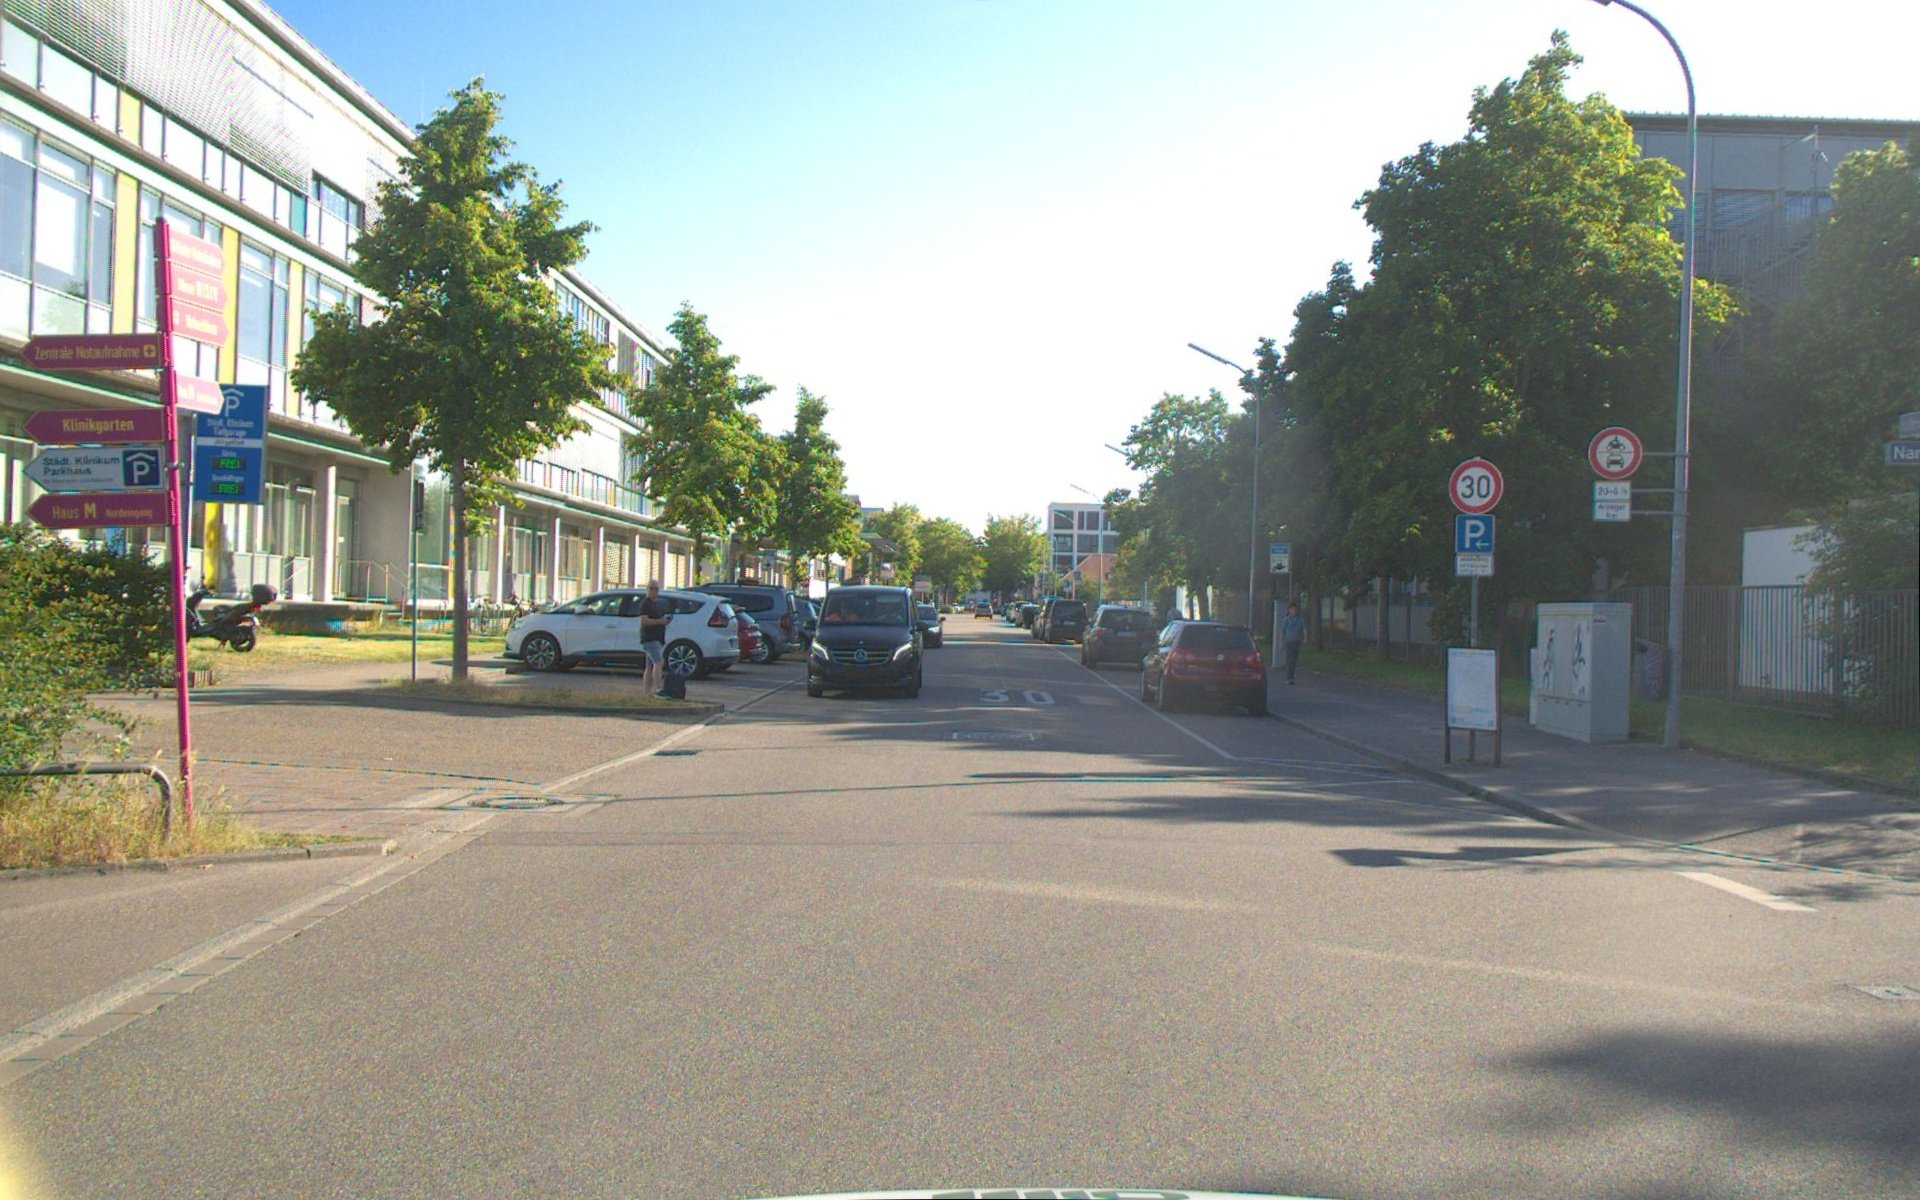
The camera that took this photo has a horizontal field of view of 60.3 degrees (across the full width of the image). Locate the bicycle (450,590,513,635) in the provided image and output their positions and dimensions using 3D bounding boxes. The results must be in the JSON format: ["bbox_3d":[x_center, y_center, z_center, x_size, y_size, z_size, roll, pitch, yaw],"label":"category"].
[{"bbox_3d":[-13.301,0.370,46.030,0.850,1.173,1.994,3,-1,10],"label":"bicycle"}]

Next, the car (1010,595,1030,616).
[{"bbox_3d":[4.718,0.460,130.499,1.406,1.588,3.042,2,0,0],"label":"car"}]

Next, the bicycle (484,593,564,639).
[{"bbox_3d":[-11.960,0.451,45.438,0.851,1.173,2.372,3,-1,21],"label":"bicycle"}]

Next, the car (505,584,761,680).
[{"bbox_3d":[-6.327,0.609,32.296,4.515,1.680,1.868,2,-1,4],"label":"car"}]

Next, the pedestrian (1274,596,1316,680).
[{"bbox_3d":[7.216,0.808,35.644,0.703,1.789,0.885,-1,0,1],"label":"pedestrian"}]

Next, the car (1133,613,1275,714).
[{"bbox_3d":[4.091,1.025,28.370,1.685,1.480,4.651,3,0,0],"label":"car"}]

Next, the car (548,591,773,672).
[{"bbox_3d":[-6.266,0.661,34.939,4.343,1.527,1.827,2,-1,1],"label":"car"}]

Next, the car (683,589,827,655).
[{"bbox_3d":[-5.842,0.623,47.579,3.908,1.635,1.871,3,0,-3],"label":"car"}]

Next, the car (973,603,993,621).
[{"bbox_3d":[2.143,1.093,154.505,1.708,1.570,4.000,2,0,0],"label":"car"}]

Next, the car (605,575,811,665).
[{"bbox_3d":[-6.119,0.472,40.544,4.645,1.897,1.828,3,0,1],"label":"car"}]

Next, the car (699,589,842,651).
[{"bbox_3d":[-5.744,0.593,50.534,4.162,1.640,2.047,3,0,-3],"label":"car"}]

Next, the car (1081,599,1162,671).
[{"bbox_3d":[4.273,0.888,44.411,1.775,1.695,4.593,3,1,1],"label":"car"}]

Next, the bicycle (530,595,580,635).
[{"bbox_3d":[-12.035,0.435,49.228,0.873,1.131,1.890,3,1,4],"label":"bicycle"}]

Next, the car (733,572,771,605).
[{"bbox_3d":[-14.093,-0.757,112.168,1.953,2.049,3.999,2,-1,0],"label":"car"}]

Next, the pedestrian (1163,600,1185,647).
[{"bbox_3d":[7.882,0.868,61.055,0.684,1.690,0.752,-1,0,0],"label":"pedestrian"}]

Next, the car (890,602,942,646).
[{"bbox_3d":[-1.527,0.819,58.210,1.668,1.476,4.086,0,0,1],"label":"car"}]

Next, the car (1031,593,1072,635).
[{"bbox_3d":[4.511,0.697,81.862,1.836,2.013,4.000,0,0,0],"label":"car"}]

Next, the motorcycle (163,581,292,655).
[{"bbox_3d":[-13.086,0.318,29.571,2.002,1.169,0.499,4,0,-2],"label":"motorcycle"}]

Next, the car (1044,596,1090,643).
[{"bbox_3d":[4.457,0.812,69.373,1.697,1.862,3.905,1,0,1],"label":"car"}]

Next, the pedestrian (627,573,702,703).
[{"bbox_3d":[-4.438,0.556,24.885,0.840,1.874,0.826,3,0,2],"label":"pedestrian"}]

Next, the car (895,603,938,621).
[{"bbox_3d":[-4.105,1.104,156.943,3.905,1.546,2.000,2,-1,1],"label":"car"}]

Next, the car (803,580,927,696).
[{"bbox_3d":[-1.607,0.627,29.704,1.915,1.900,5.255,0,0,0],"label":"car"}]

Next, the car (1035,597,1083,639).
[{"bbox_3d":[4.504,0.787,75.615,1.952,1.855,4.198,0,0,0],"label":"car"}]

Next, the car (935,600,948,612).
[{"bbox_3d":[-2.489,0.750,223.347,1.692,1.563,3.999,1,0,-1],"label":"car"}]

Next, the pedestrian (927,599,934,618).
[{"bbox_3d":[-2.580,0.745,146.144,0.606,1.652,0.716,0,0,0],"label":"pedestrian"}]
